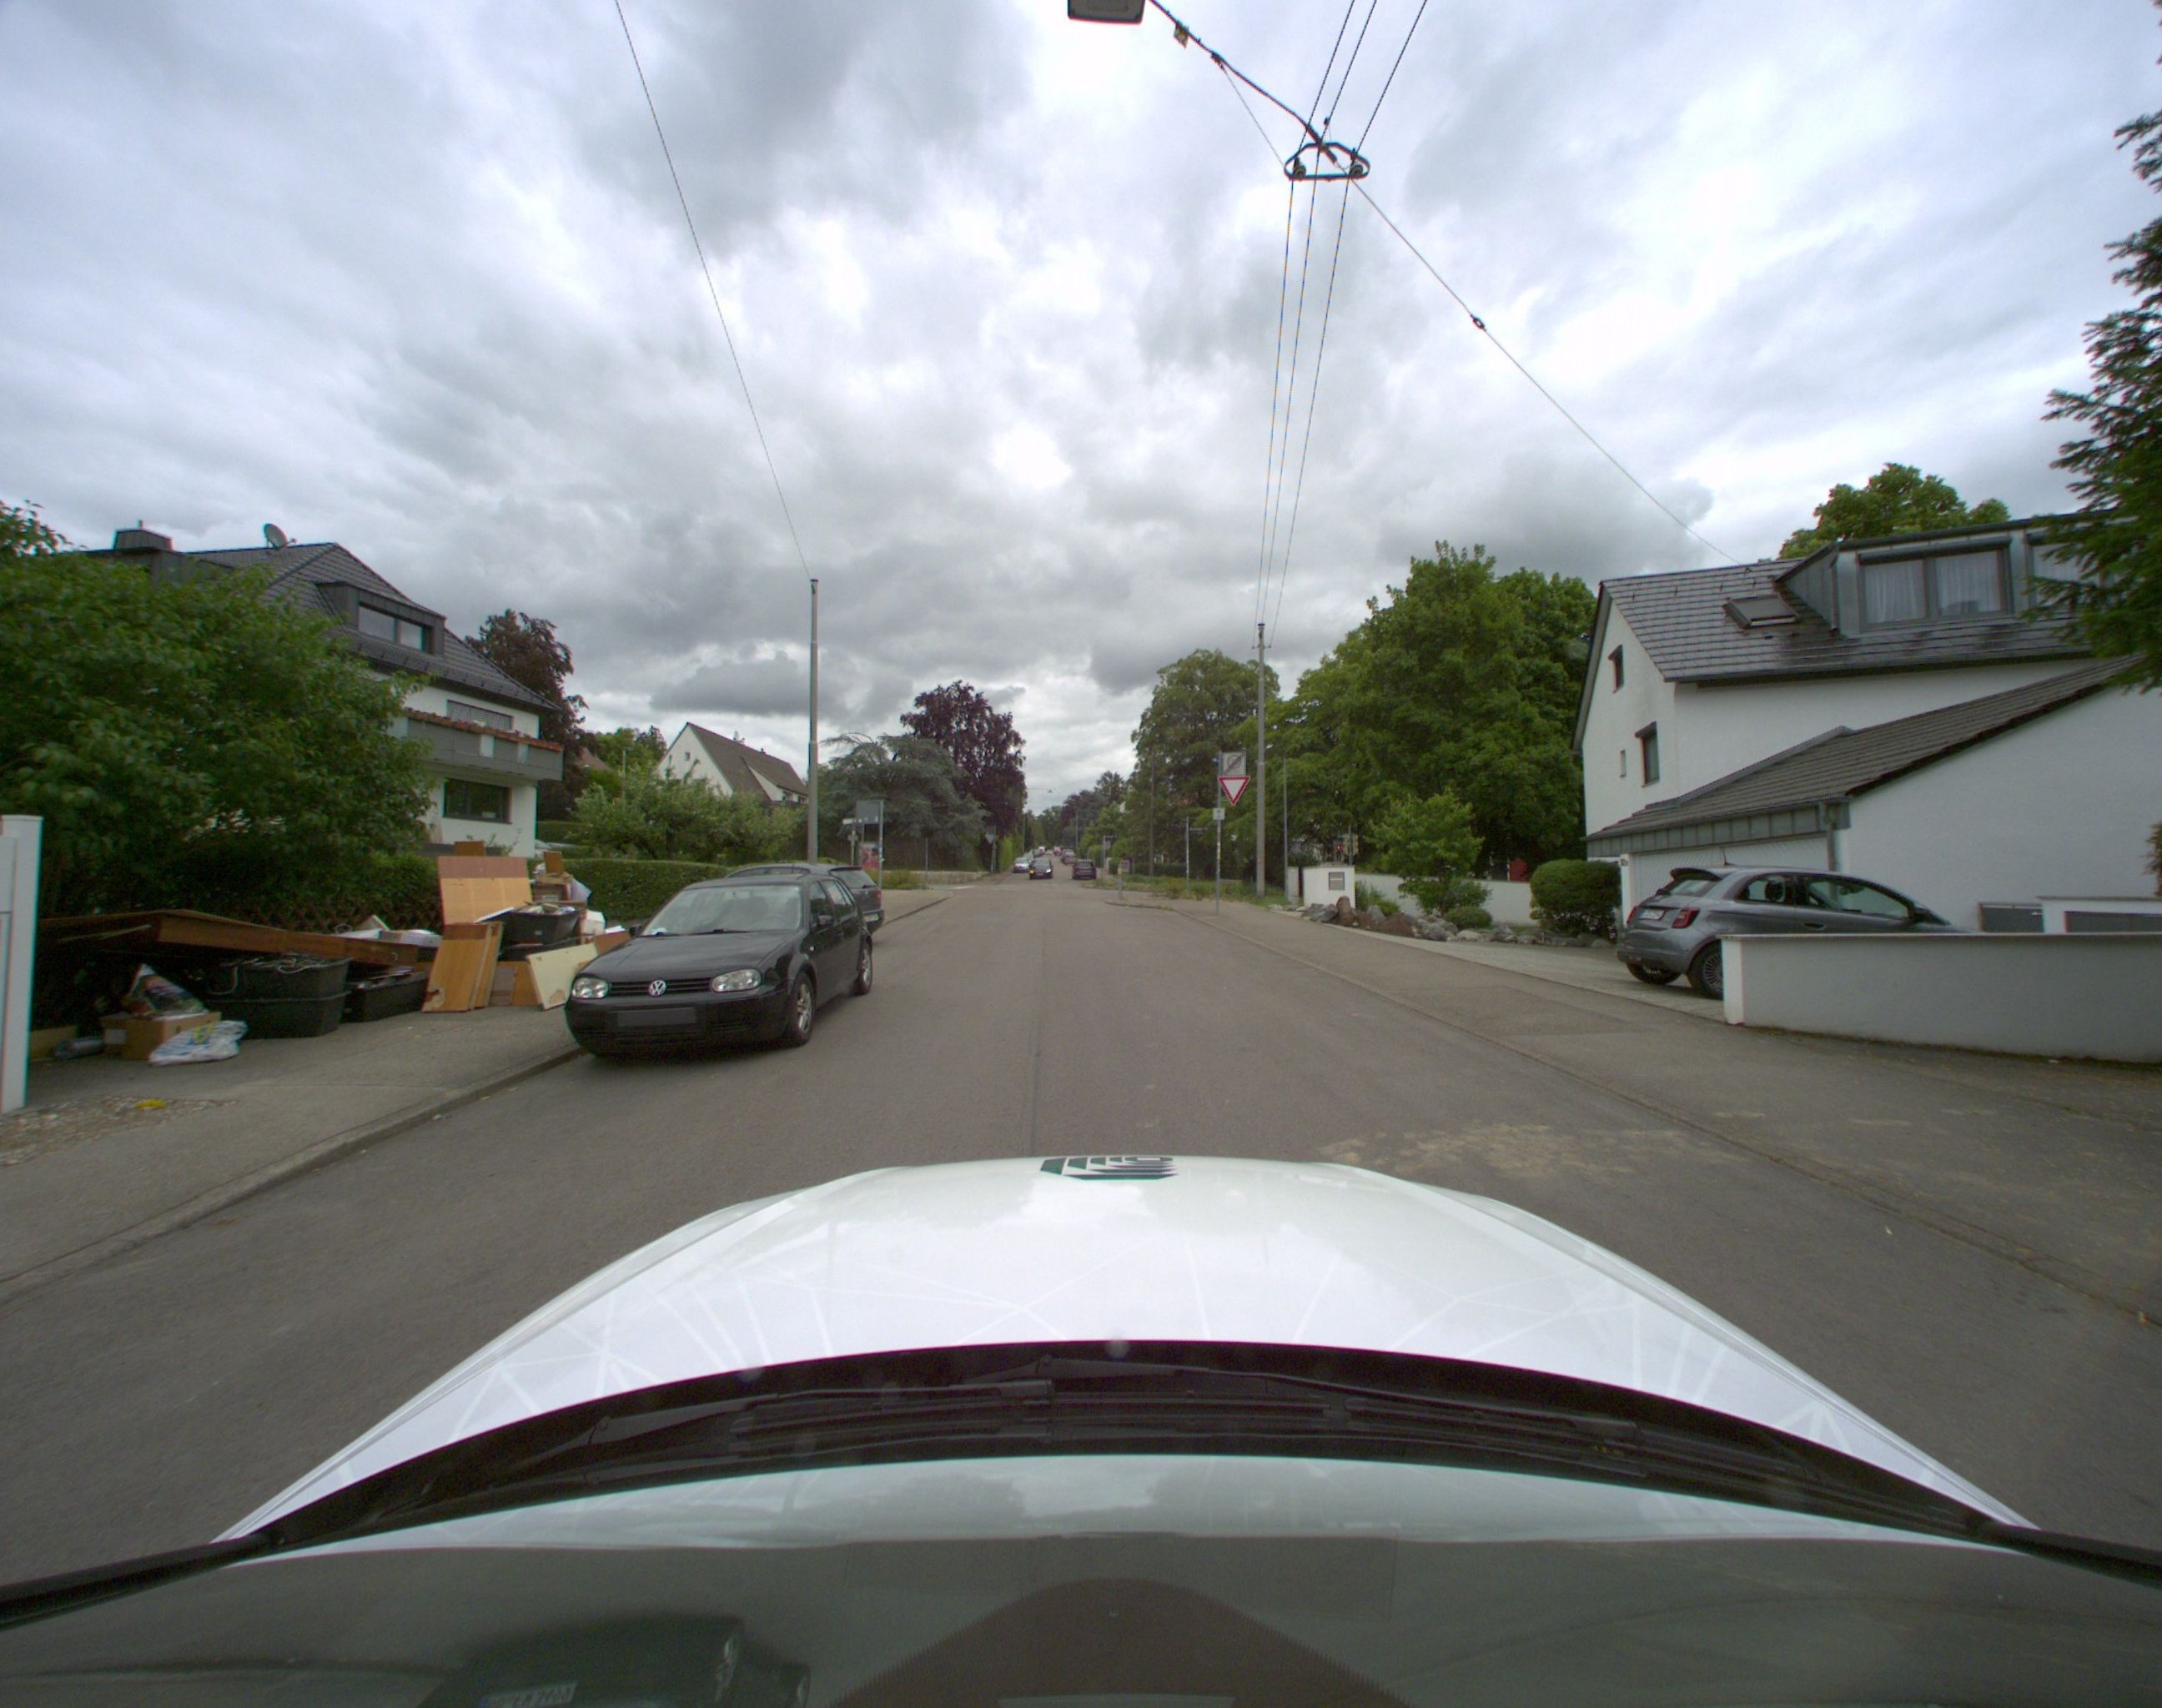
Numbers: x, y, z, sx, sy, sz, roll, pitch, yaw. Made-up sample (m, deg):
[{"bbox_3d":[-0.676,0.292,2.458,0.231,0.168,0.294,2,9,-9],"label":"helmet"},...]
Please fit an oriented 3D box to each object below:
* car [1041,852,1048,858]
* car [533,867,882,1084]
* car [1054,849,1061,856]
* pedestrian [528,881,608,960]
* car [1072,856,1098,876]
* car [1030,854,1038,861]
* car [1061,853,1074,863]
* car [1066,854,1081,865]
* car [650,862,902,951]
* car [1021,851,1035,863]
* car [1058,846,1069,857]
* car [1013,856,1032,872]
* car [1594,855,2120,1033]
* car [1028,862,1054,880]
[{"bbox_3d":[-10.996,0.255,243.340,1.989,1.882,3.996,2,0,-3],"label":"car"},{"bbox_3d":[-3.125,0.884,7.767,1.633,1.395,3.984,-2,0,-3],"label":"car"},{"bbox_3d":[-5.847,-0.410,201.650,1.630,1.701,3.490,0,0,-3],"label":"car"},{"bbox_3d":[-8.510,1.069,13.513,0.954,1.225,0.826,1,-2,-44],"label":"pedestrian"},{"bbox_3d":[0.280,0.940,64.478,1.775,1.489,3.995,0,0,-3],"label":"car"},{"bbox_3d":[-9.881,0.705,172.246,1.623,1.386,3.594,2,0,-3],"label":"car"},{"bbox_3d":[-1.958,0.567,116.835,1.784,1.529,3.732,0,0,-1],"label":"car"},{"bbox_3d":[-0.952,0.742,108.112,1.806,1.335,3.628,1,1,-3],"label":"car"},{"bbox_3d":[-5.537,0.892,14.953,3.958,1.444,1.834,0,0,14],"label":"car"},{"bbox_3d":[-7.202,0.369,111.484,1.706,1.586,3.998,0,1,-1],"label":"car"},{"bbox_3d":[-2.845,-0.350,128.946,1.630,1.701,3.490,0,0,-3],"label":"car"},{"bbox_3d":[-6.029,1.041,84.203,1.705,1.586,4.000,0,0,1],"label":"car"},{"bbox_3d":[8.438,0.913,9.299,3.960,1.472,1.795,4,-1,13],"label":"car"},{"bbox_3d":[-3.240,1.352,66.563,1.721,1.407,3.807,0,0,4],"label":"car"}]
